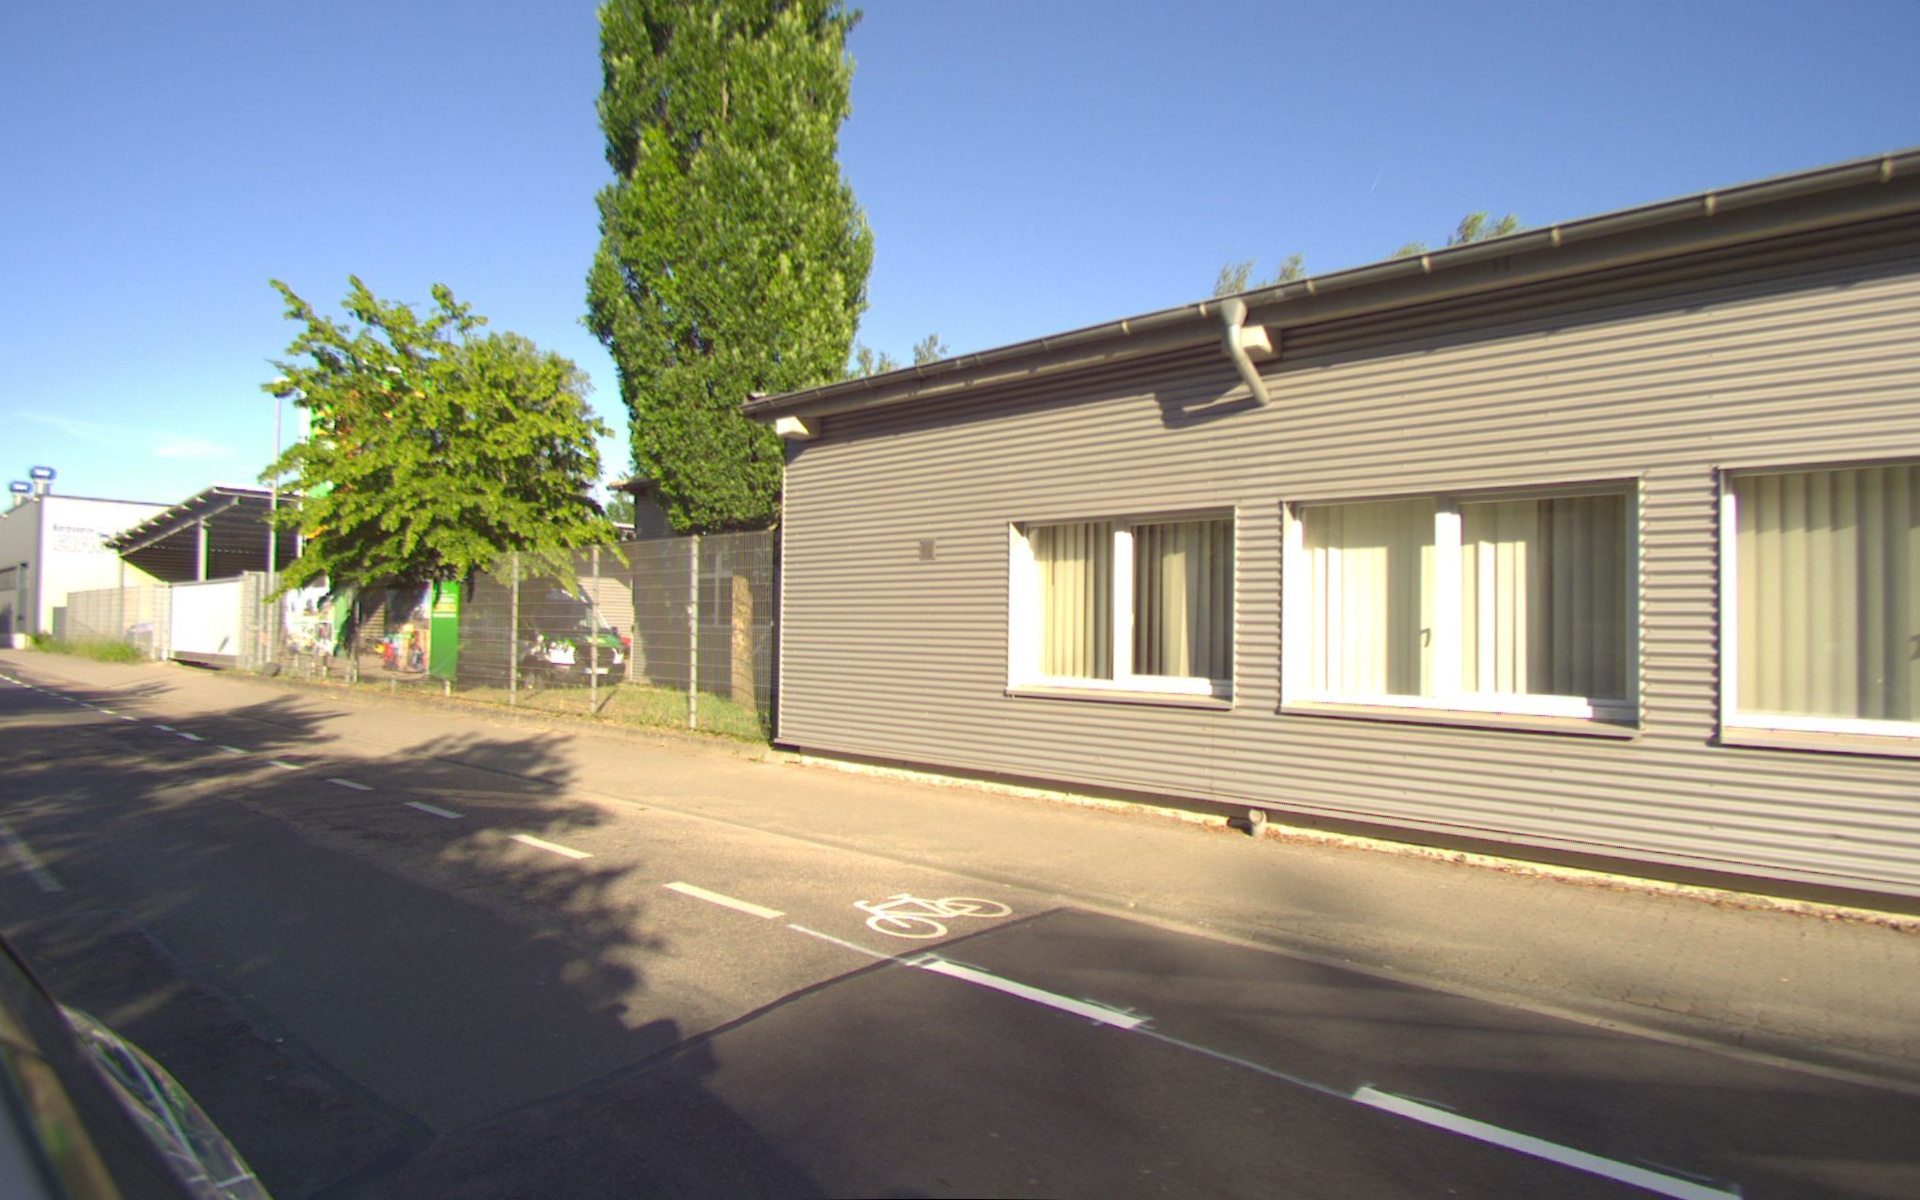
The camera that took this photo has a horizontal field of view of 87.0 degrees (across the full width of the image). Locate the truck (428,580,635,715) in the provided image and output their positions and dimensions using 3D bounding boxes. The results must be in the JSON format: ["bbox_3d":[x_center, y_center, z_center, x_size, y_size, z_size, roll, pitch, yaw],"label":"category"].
[{"bbox_3d":[-10.106,1.099,23.620,5.761,2.783,2.057,-2,-4,41],"label":"truck"}]

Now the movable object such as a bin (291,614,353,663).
[{"bbox_3d":[-28.340,1.733,44.953,2.475,2.109,1.560,-2,-4,39],"label":"movable object such as a bin"}]

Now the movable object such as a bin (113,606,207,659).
[{"bbox_3d":[-34.033,1.410,43.145,2.725,2.181,1.528,1,-3,-19],"label":"movable object such as a bin"}]

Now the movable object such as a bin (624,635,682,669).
[{"bbox_3d":[-14.604,2.462,48.063,2.756,1.502,1.314,-1,-3,41],"label":"movable object such as a bin"}]
